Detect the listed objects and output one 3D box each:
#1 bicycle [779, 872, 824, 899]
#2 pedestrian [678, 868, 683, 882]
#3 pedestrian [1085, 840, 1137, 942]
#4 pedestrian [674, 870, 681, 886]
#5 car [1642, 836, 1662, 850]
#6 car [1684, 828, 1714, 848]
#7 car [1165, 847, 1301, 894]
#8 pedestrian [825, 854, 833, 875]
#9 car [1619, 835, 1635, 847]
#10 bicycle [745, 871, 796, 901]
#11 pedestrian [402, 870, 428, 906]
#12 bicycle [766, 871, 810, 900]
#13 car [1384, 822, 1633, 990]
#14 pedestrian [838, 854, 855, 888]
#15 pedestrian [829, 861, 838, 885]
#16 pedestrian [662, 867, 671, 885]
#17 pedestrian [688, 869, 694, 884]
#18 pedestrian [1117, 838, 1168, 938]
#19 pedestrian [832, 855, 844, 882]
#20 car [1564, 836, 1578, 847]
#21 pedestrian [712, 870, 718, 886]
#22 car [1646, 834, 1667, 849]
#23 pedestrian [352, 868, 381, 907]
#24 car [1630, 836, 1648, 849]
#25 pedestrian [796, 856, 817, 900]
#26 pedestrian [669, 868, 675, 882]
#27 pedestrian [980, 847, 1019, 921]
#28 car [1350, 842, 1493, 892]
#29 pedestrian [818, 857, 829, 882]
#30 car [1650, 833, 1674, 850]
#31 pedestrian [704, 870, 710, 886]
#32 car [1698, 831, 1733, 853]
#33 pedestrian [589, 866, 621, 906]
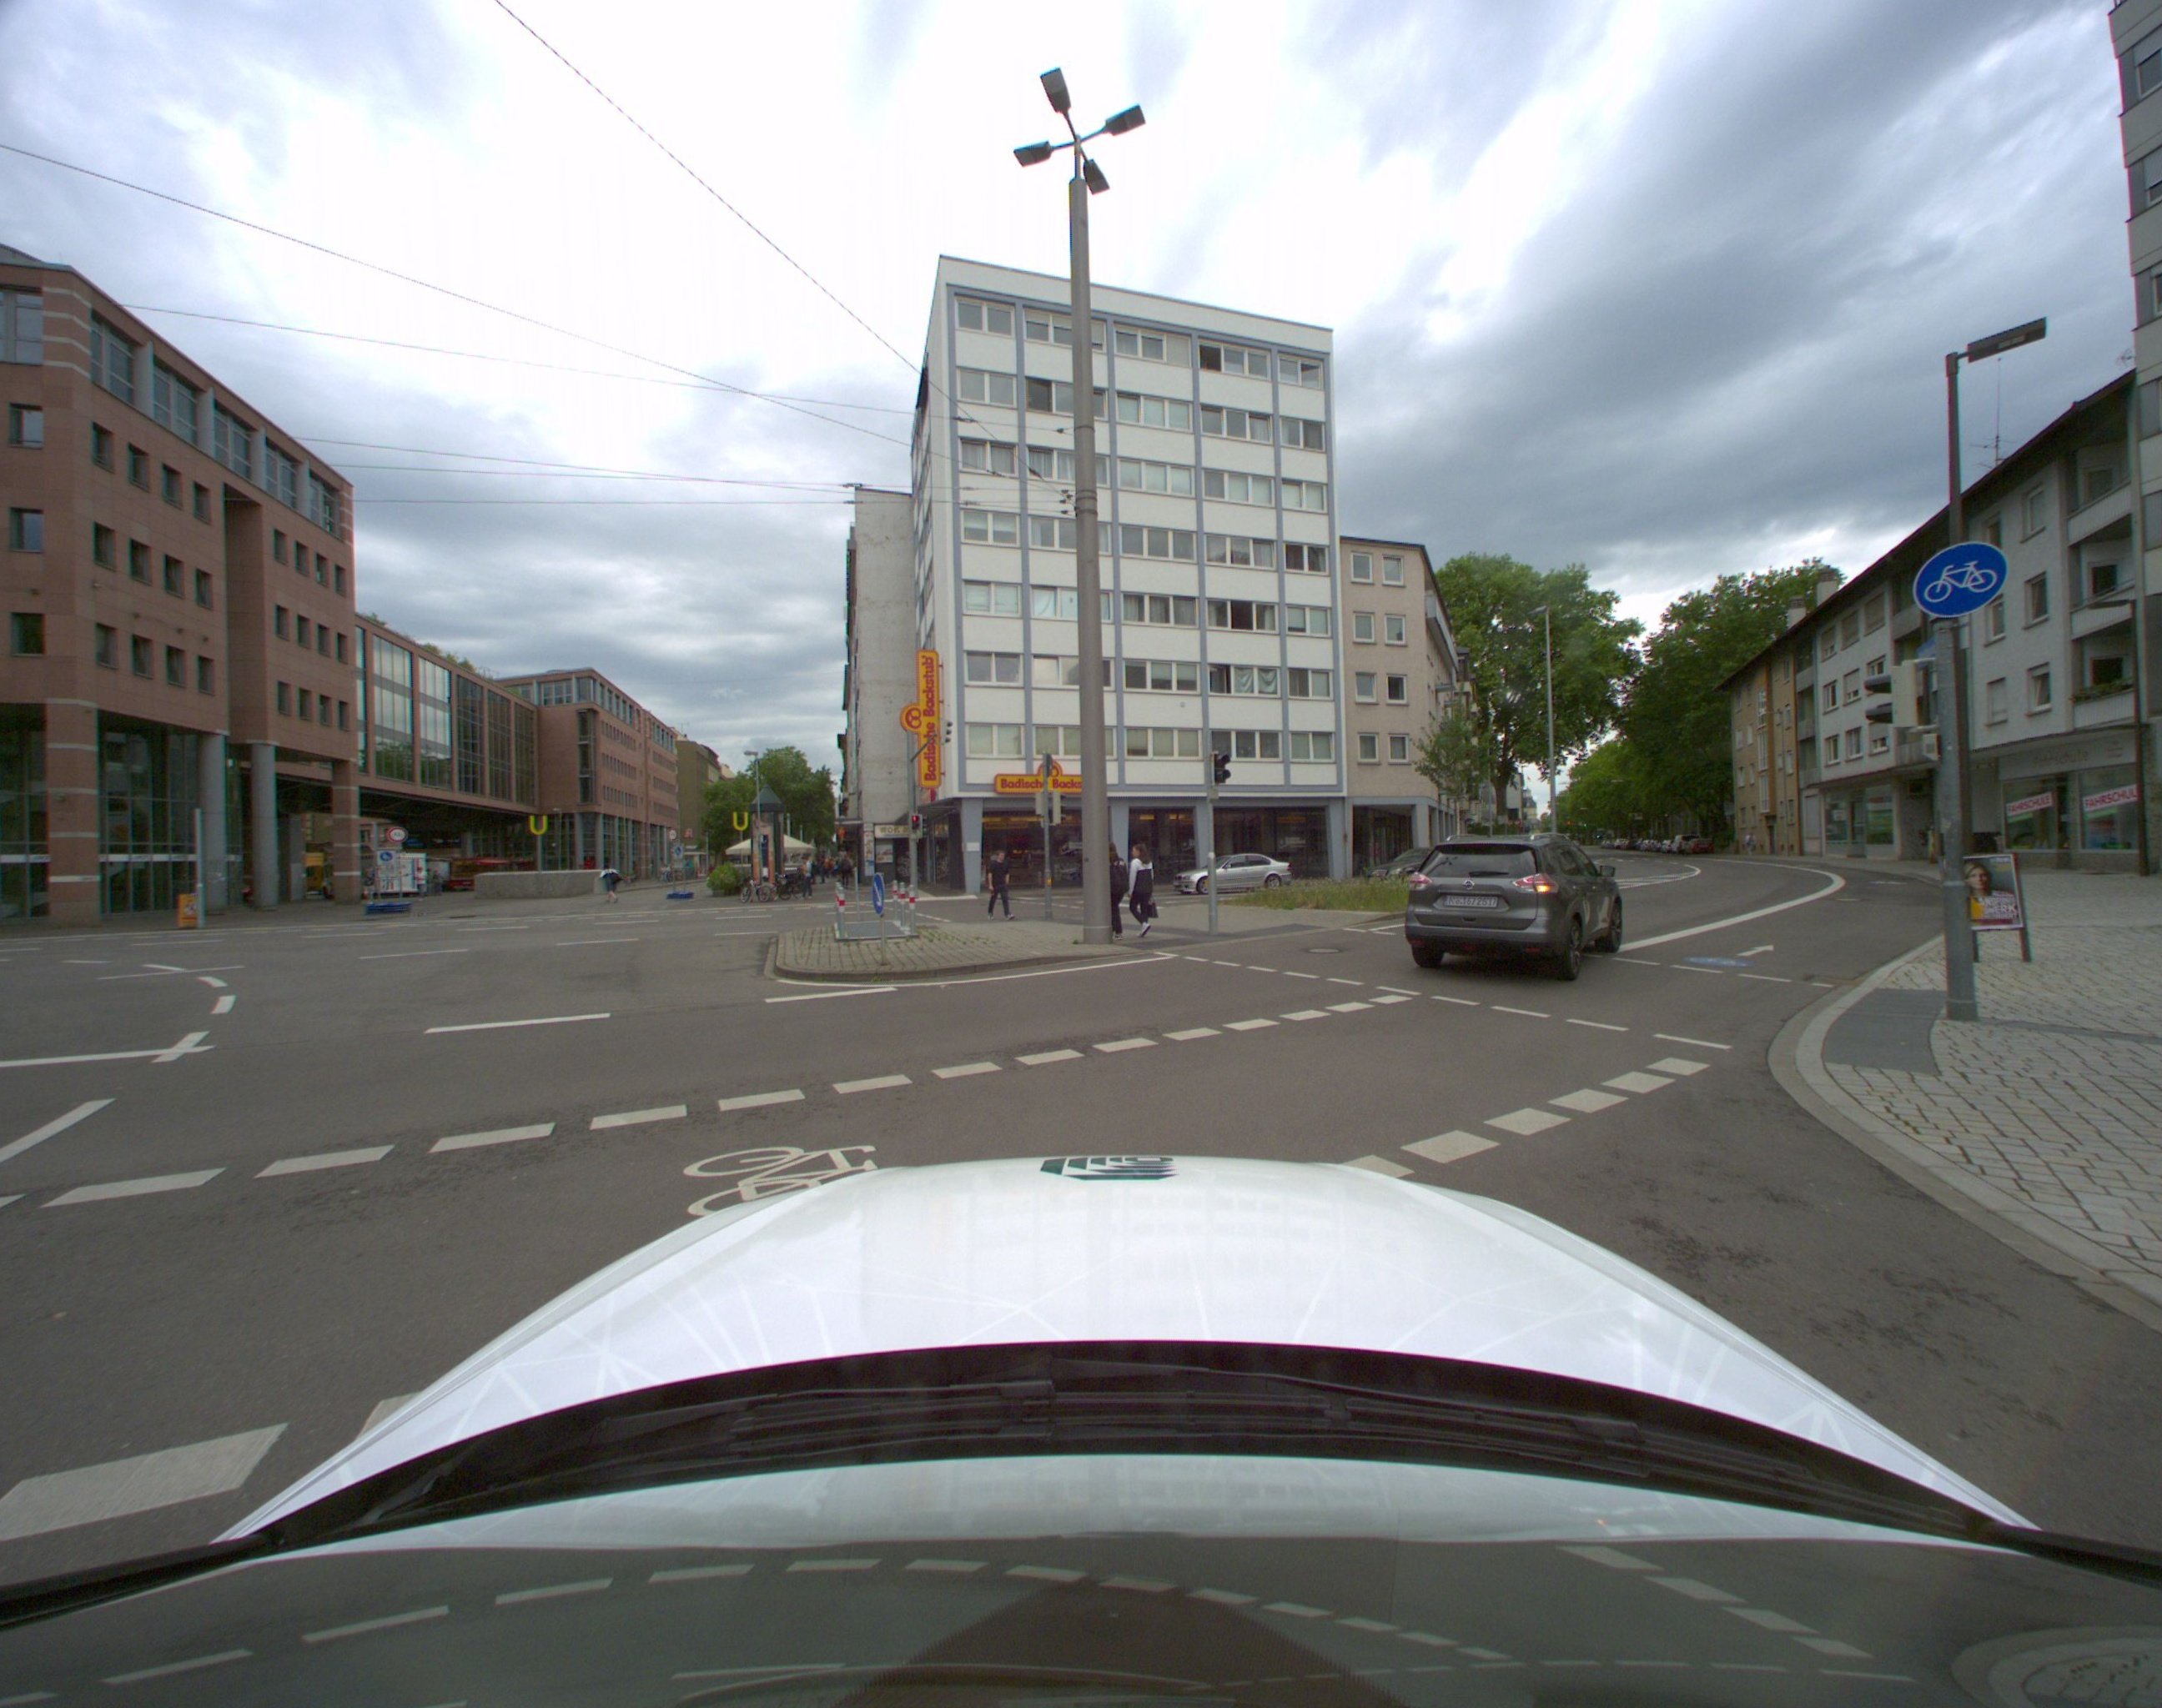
[{"bbox_3d":[-11.513,1.292,33.522,1.696,1.065,0.436,-1,-1,-11],"label":"bicycle"},{"bbox_3d":[-49.582,2.564,100.814,0.603,1.714,0.650,0,-1,-24],"label":"pedestrian"},{"bbox_3d":[0.530,0.633,14.519,0.624,1.761,0.773,0,-1,-24],"label":"pedestrian"},{"bbox_3d":[-43.166,2.569,87.055,0.603,1.714,0.650,0,-1,-24],"label":"pedestrian"},{"bbox_3d":[73.396,-1.397,104.745,1.845,1.774,4.009,0,1,30],"label":"car"},{"bbox_3d":[58.612,-1.529,77.296,1.845,1.774,4.009,0,1,30],"label":"car"},{"bbox_3d":[5.540,0.580,29.694,4.566,1.481,1.737,-2,0,-20],"label":"car"},{"bbox_3d":[-20.919,0.872,67.611,0.613,1.705,0.616,0,-1,-16],"label":"pedestrian"},{"bbox_3d":[87.018,-2.082,129.752,1.845,1.774,4.009,0,1,30],"label":"car"},{"bbox_3d":[-12.649,1.301,33.158,1.879,1.172,0.526,0,-1,-31],"label":"bicycle"},{"bbox_3d":[-34.334,1.732,42.006,0.697,1.842,0.735,-1,-1,3],"label":"pedestrian"},{"bbox_3d":[-12.221,1.303,33.997,1.703,1.172,0.434,0,-1,-24],"label":"bicycle"},{"bbox_3d":[5.909,0.497,10.945,1.846,1.774,4.595,0,1,42],"label":"car"},{"bbox_3d":[-12.175,0.878,42.240,0.709,1.705,0.733,-1,-1,-5],"label":"pedestrian"},{"bbox_3d":[-18.073,1.400,59.499,0.557,1.705,0.516,0,-1,-16],"label":"pedestrian"},{"bbox_3d":[-34.320,1.827,67.468,0.603,1.536,0.650,0,-1,-24],"label":"pedestrian"},{"bbox_3d":[-46.395,2.691,96.813,0.603,1.714,0.650,0,-1,-24],"label":"pedestrian"},{"bbox_3d":[1.108,0.598,14.780,0.624,1.761,0.773,0,-1,-24],"label":"pedestrian"},{"bbox_3d":[-17.016,1.013,56.928,0.740,1.821,0.658,-2,0,-19],"label":"pedestrian"},{"bbox_3d":[80.216,-1.994,133.353,1.845,1.774,4.009,0,1,30],"label":"car"},{"bbox_3d":[-38.323,2.503,85.310,0.603,1.714,0.650,0,-1,-24],"label":"pedestrian"},{"bbox_3d":[70.677,-1.559,100.059,1.845,1.774,4.009,0,1,30],"label":"car"},{"bbox_3d":[-33.642,1.567,38.349,0.699,1.842,0.733,-1,-1,-5],"label":"pedestrian"},{"bbox_3d":[79.329,-1.698,115.773,1.845,1.774,4.009,0,1,30],"label":"car"},{"bbox_3d":[-11.221,0.975,33.286,0.735,1.746,0.658,0,-1,-25],"label":"pedestrian"},{"bbox_3d":[-50.434,2.589,100.513,0.603,1.714,0.650,0,-1,-24],"label":"pedestrian"},{"bbox_3d":[-2.105,0.756,20.910,0.716,1.832,1.009,0,-1,-24],"label":"pedestrian"},{"bbox_3d":[11.832,0.432,28.294,4.566,1.481,1.737,-2,0,-20],"label":"car"},{"bbox_3d":[-17.417,1.047,55.124,0.644,1.705,0.556,0,-1,-16],"label":"pedestrian"},{"bbox_3d":[65.270,-1.432,91.466,1.845,1.774,4.009,0,1,30],"label":"car"},{"bbox_3d":[-39.043,2.509,85.003,0.603,1.714,0.650,0,-1,-24],"label":"pedestrian"},{"bbox_3d":[54.721,-1.042,70.274,1.845,1.774,4.009,0,1,30],"label":"car"},{"bbox_3d":[-20.512,1.362,35.084,0.922,1.705,0.735,-1,-1,3],"label":"pedestrian"}]
